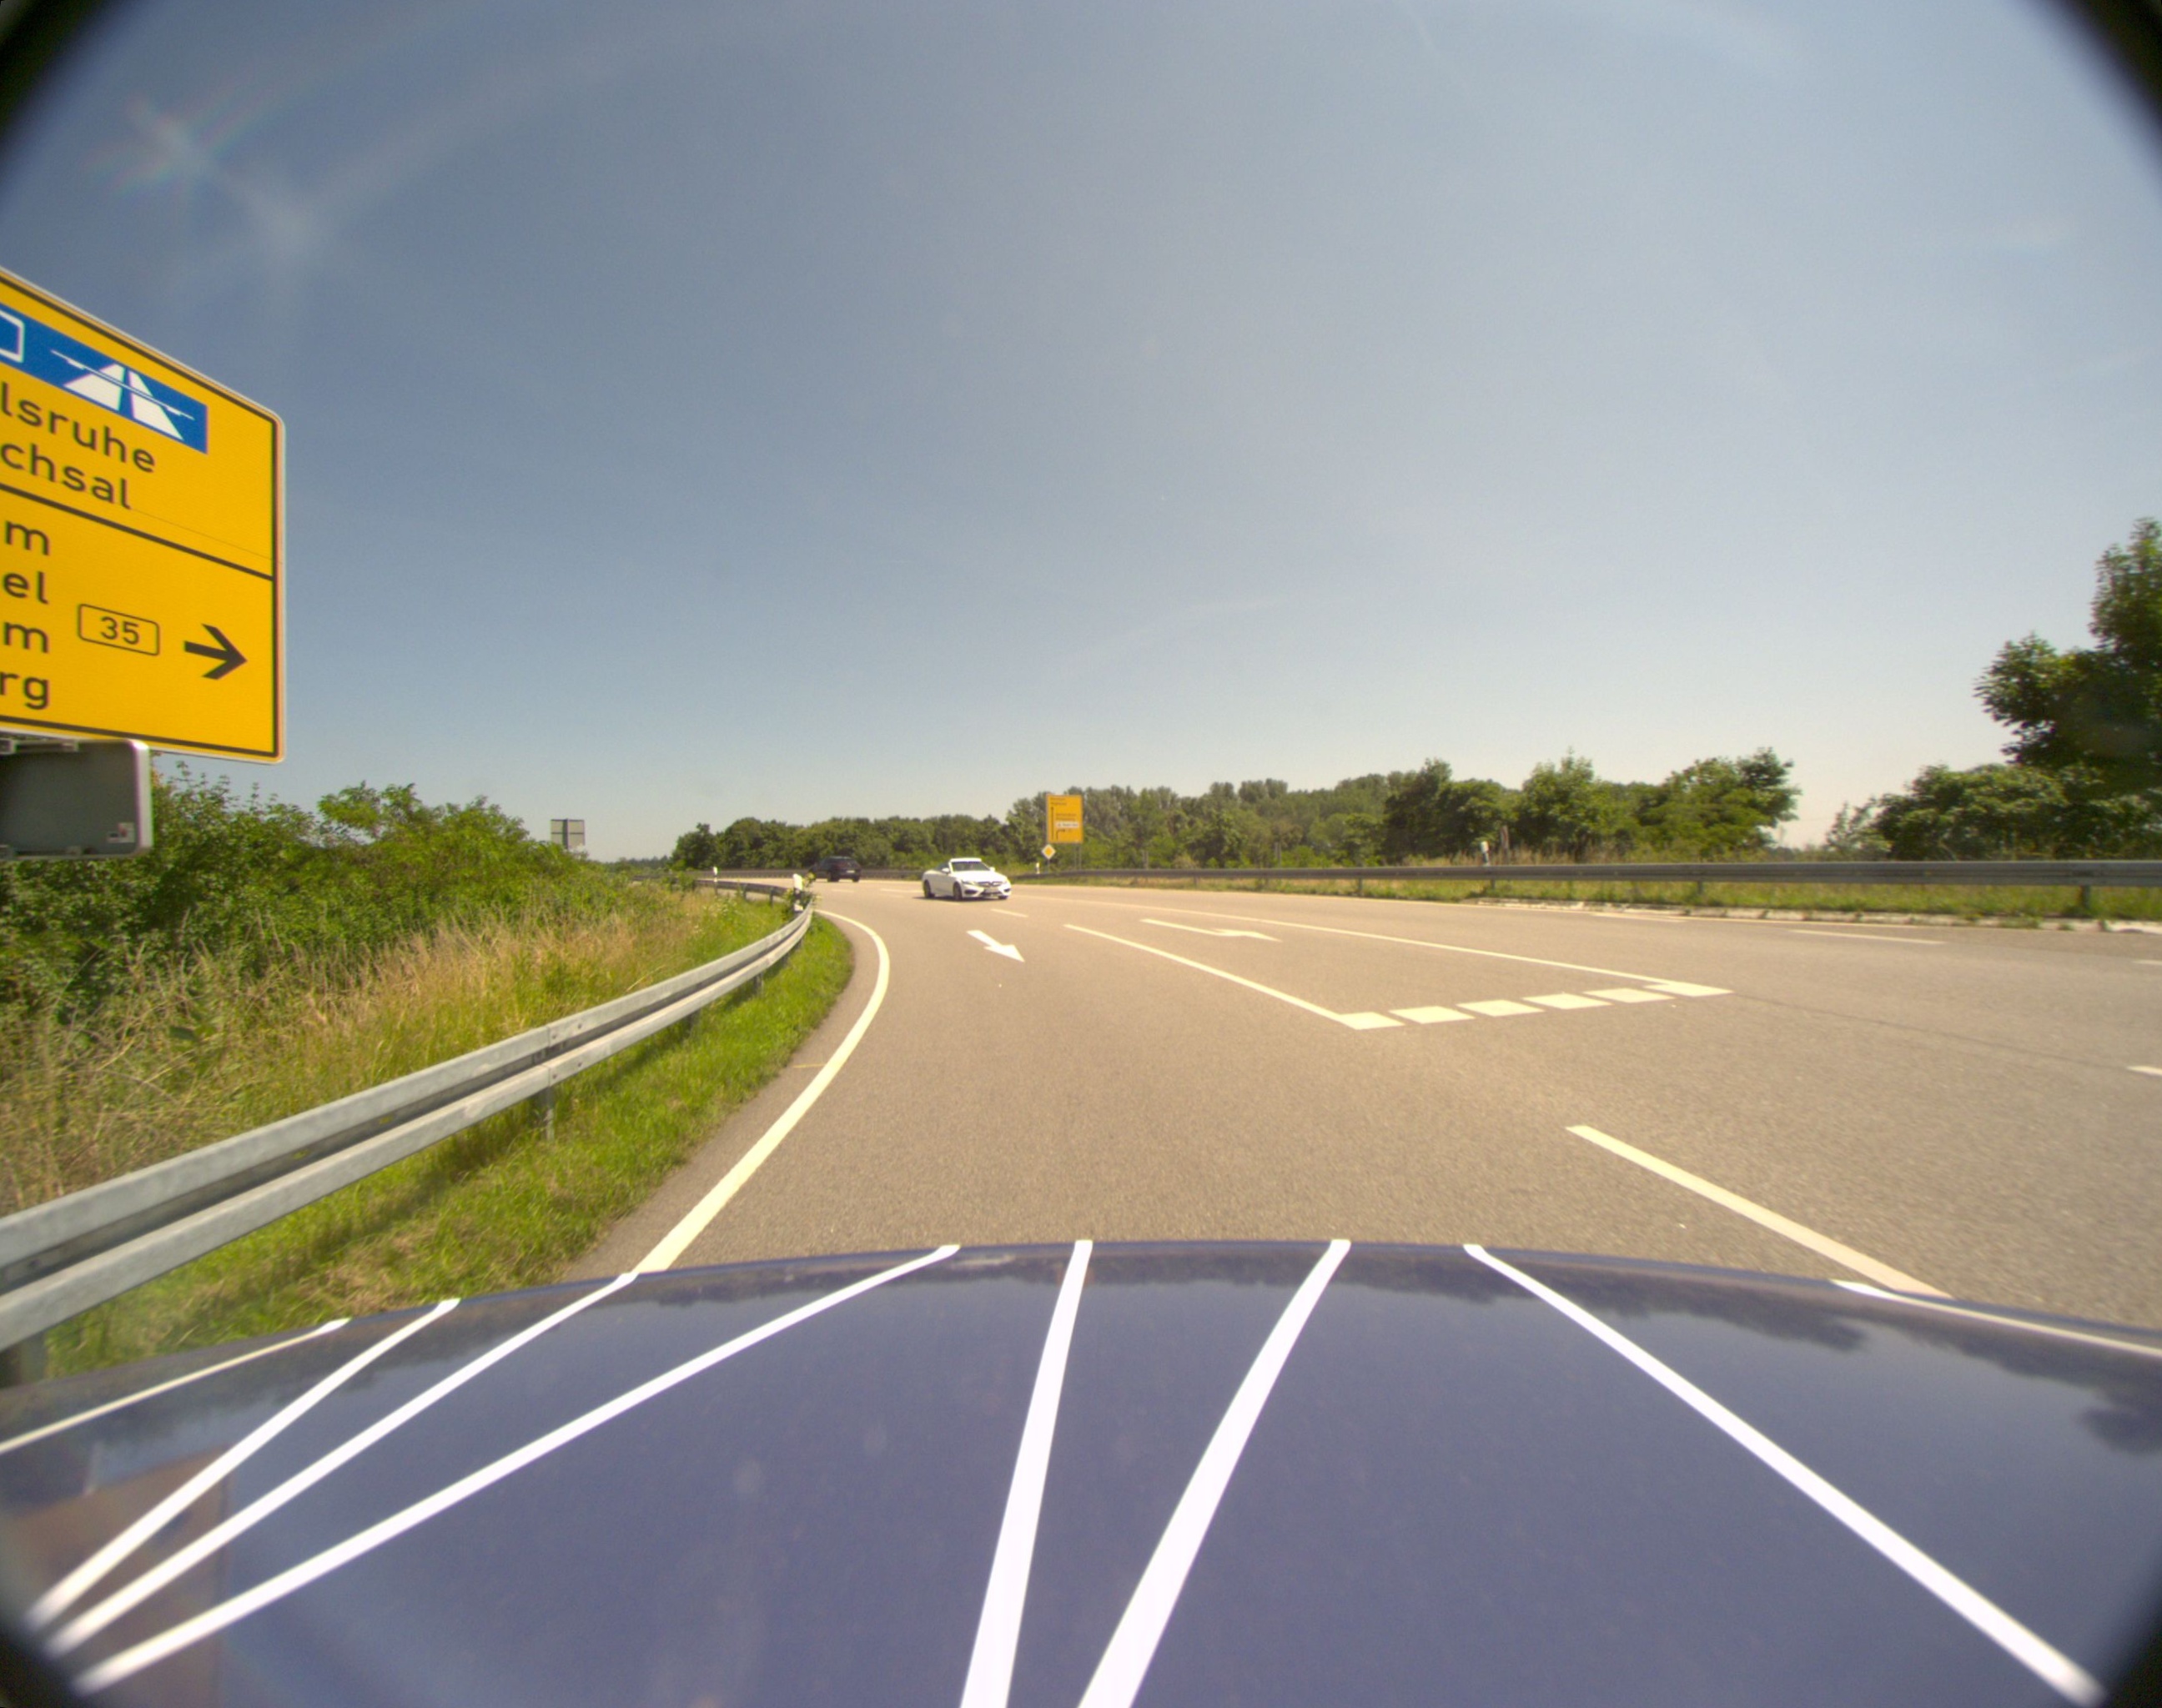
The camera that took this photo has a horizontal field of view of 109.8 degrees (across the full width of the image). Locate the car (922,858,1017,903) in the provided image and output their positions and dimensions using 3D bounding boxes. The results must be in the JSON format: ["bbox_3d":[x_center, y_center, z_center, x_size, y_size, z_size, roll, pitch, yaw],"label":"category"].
[{"bbox_3d":[-4.024,0.877,26.886,1.817,1.407,4.100,-1,0,-32],"label":"car"}]

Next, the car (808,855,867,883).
[{"bbox_3d":[-15.583,1.001,48.581,1.721,1.647,4.555,5,-5,-43],"label":"car"}]
